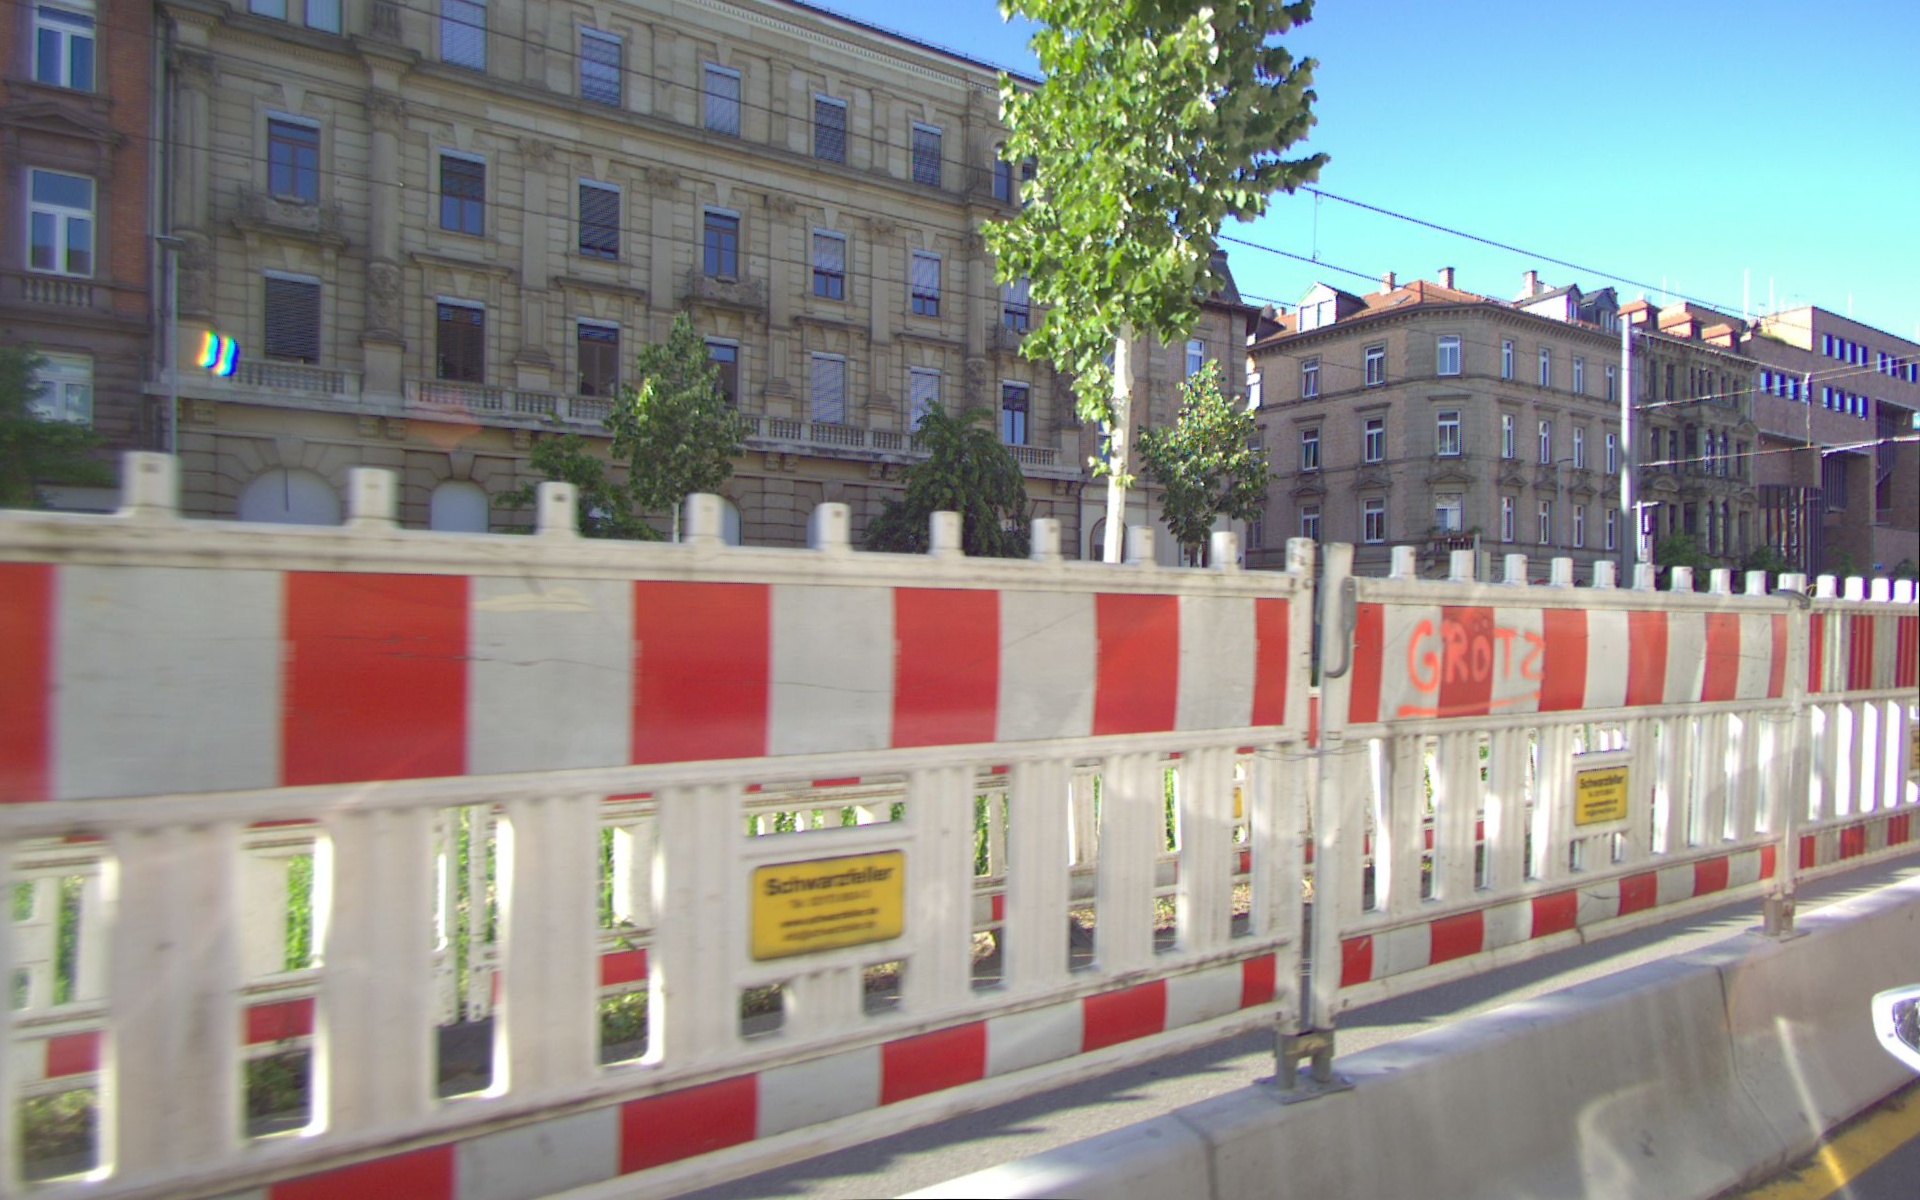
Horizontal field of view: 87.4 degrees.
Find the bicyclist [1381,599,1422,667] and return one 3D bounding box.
[{"bbox_3d":[11.875,0.883,27.006,0.870,1.797,0.853,0,-1,34],"label":"bicyclist"}]
